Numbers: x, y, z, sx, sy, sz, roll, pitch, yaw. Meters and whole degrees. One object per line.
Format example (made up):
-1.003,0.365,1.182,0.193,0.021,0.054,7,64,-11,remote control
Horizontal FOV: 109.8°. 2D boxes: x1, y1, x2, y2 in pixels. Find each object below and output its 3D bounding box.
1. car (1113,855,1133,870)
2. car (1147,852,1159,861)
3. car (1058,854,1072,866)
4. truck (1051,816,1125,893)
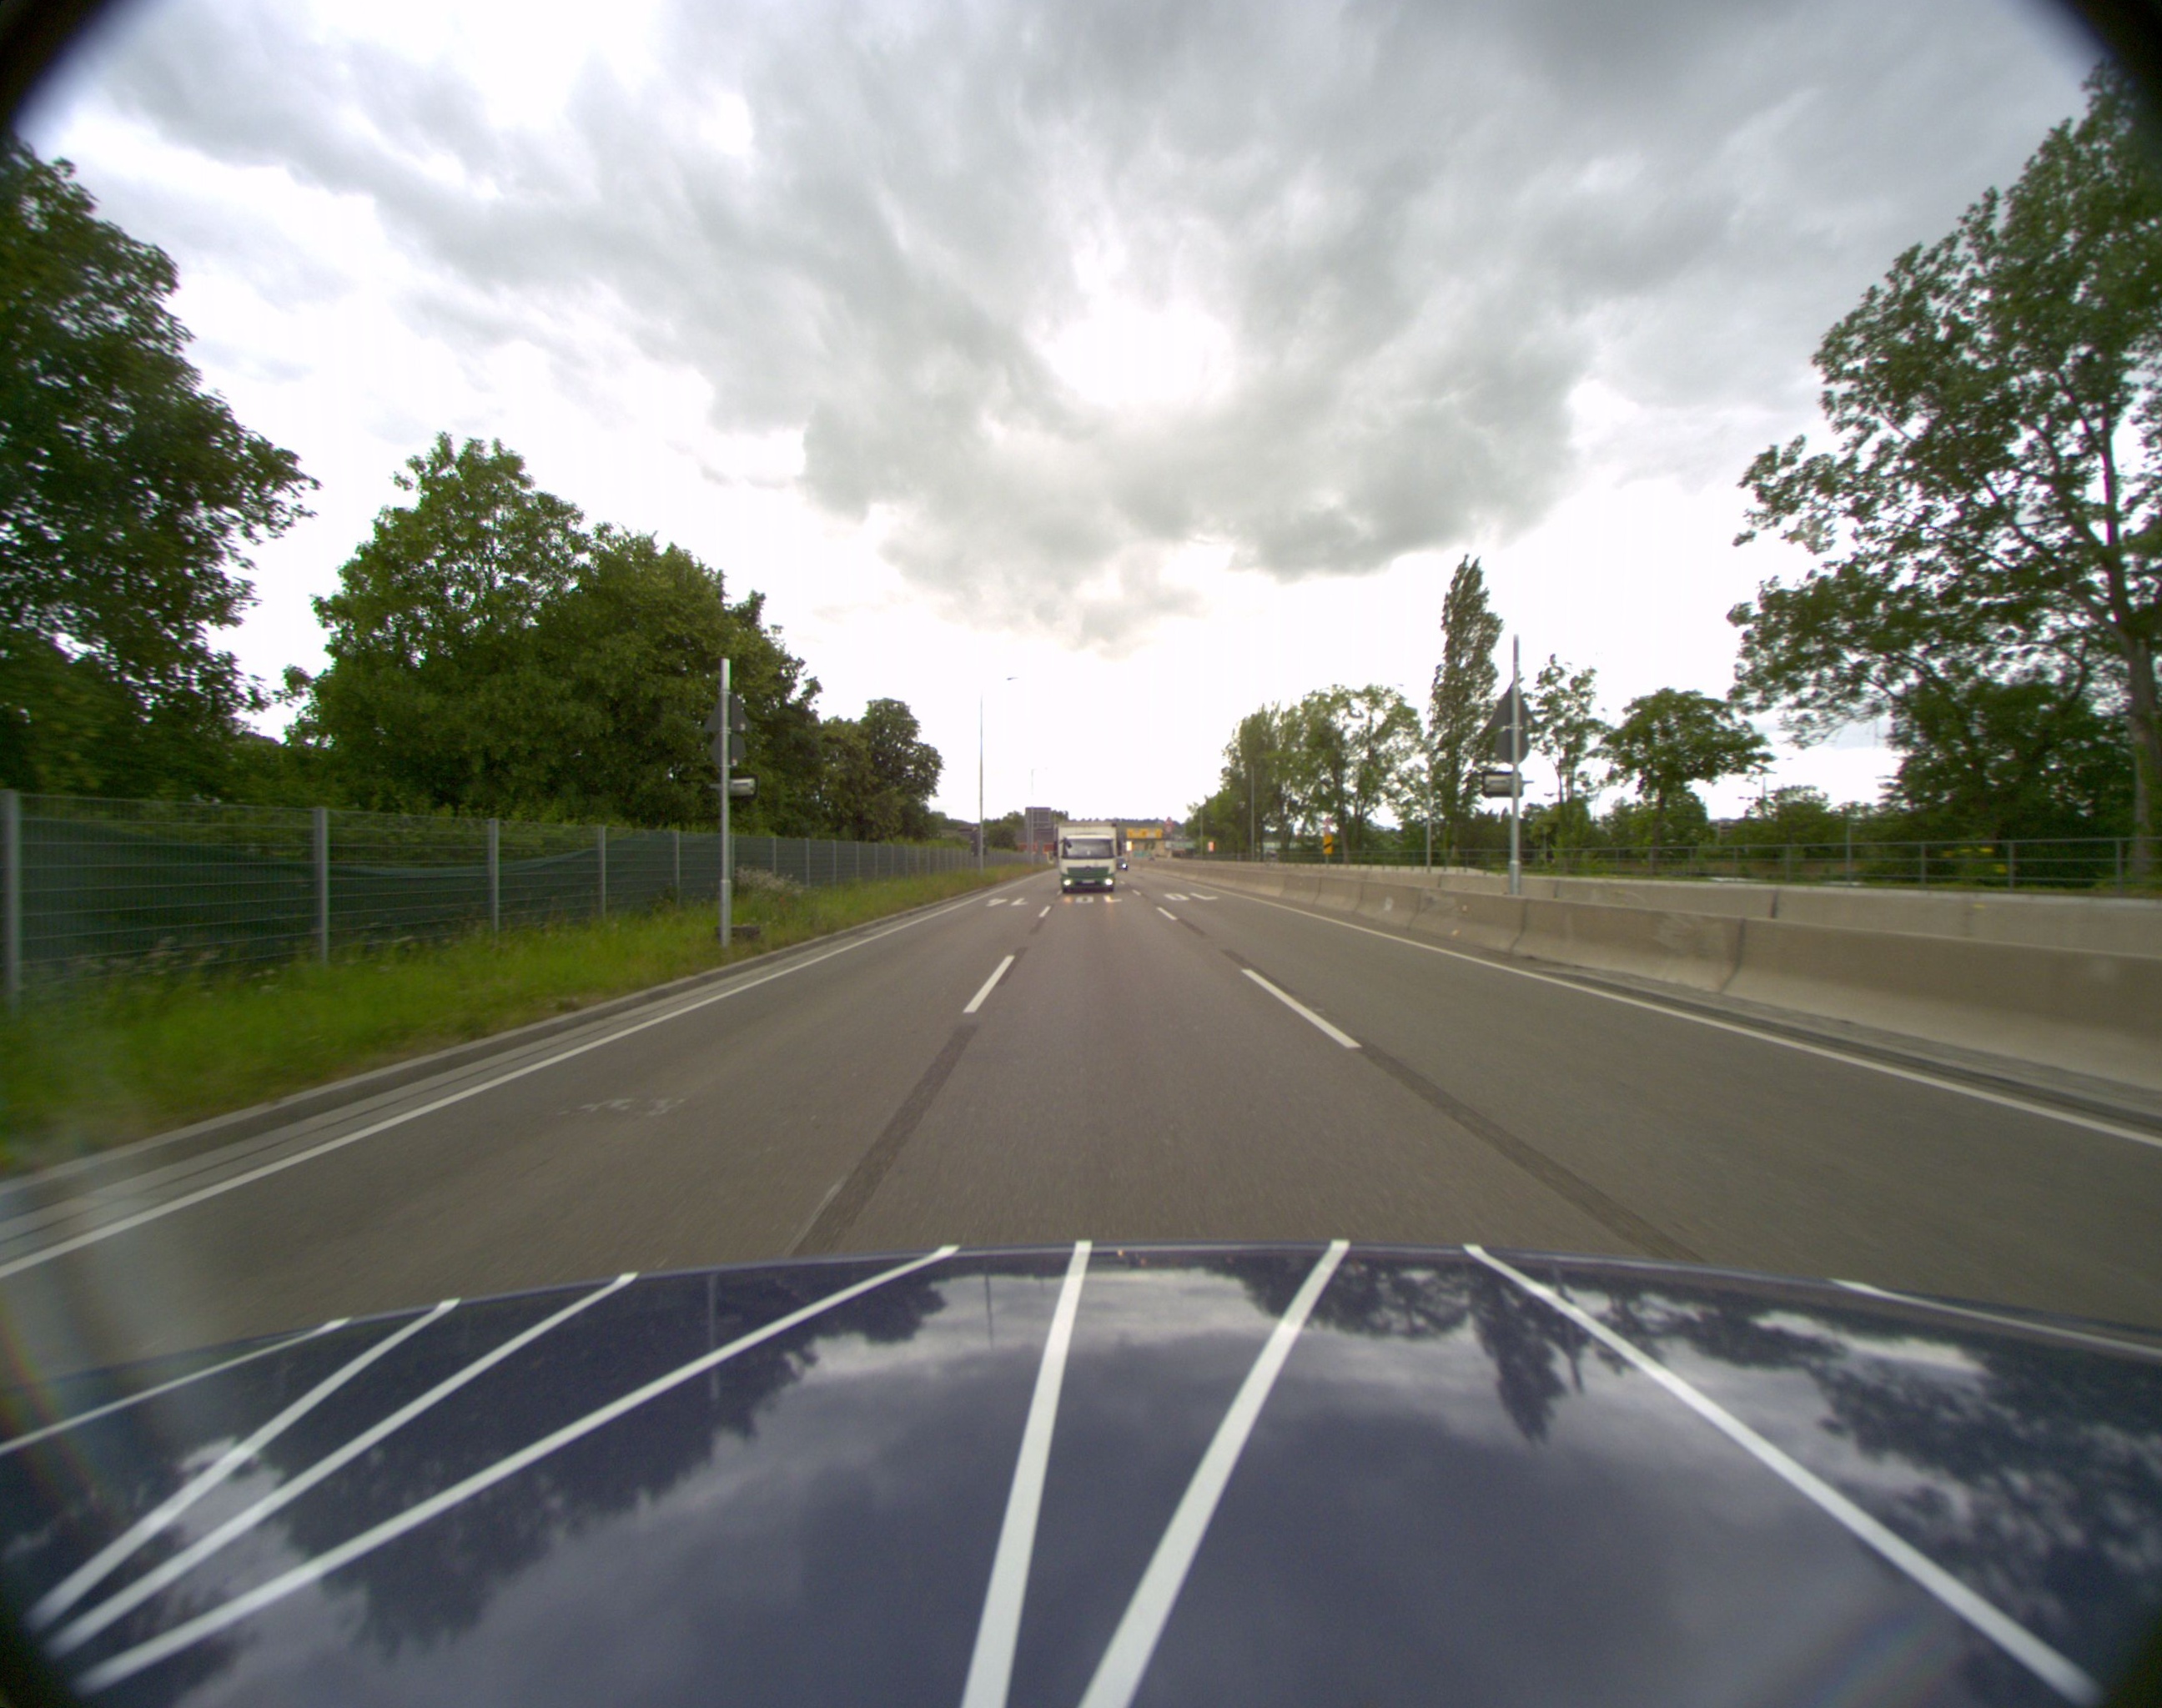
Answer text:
4.430,0.925,80.583,1.998,1.444,4.000,-3,0,1,car
16.359,0.659,172.734,2.334,1.914,5.002,-3,0,1,car
-2.500,0.917,120.106,1.998,1.849,4.000,-3,0,0,car
0.276,0.031,35.766,2.943,3.064,8.386,-2,0,0,truck
